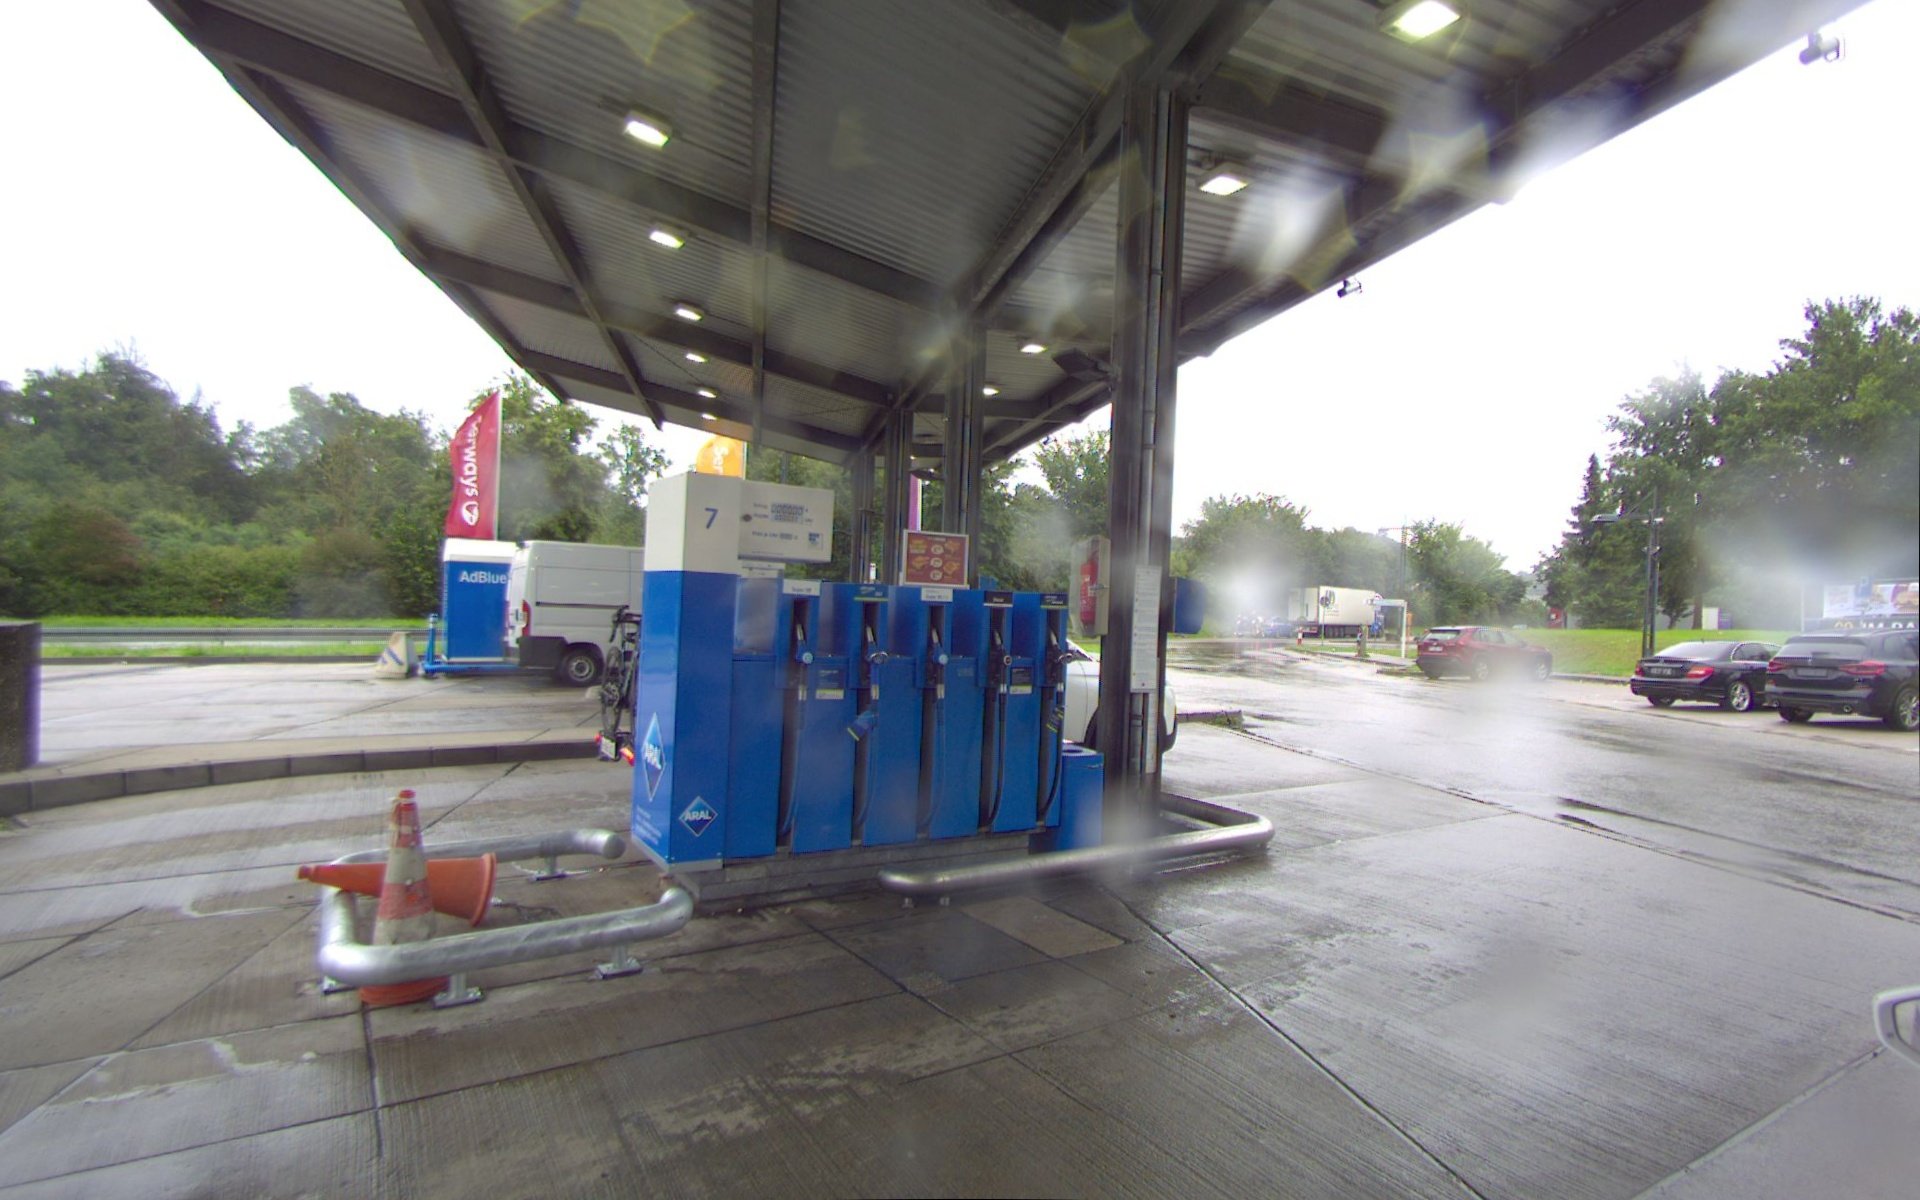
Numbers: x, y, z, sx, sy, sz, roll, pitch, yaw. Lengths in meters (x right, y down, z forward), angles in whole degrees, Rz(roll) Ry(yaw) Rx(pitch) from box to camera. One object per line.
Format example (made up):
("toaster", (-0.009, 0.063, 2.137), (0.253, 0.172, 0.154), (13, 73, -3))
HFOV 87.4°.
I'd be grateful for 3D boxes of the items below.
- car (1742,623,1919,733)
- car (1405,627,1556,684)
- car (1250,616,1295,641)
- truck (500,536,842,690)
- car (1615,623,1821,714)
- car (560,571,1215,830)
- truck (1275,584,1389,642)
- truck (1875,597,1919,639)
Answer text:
("car", (16.156, 1.270, 17.453), (4.274, 1.734, 2.016), (1, -1, -18))
("car", (16.059, 1.668, 30.987), (4.283, 1.666, 1.933), (1, -2, -25))
("car", (22.885, 2.058, 73.422), (1.787, 1.704, 3.934), (2, 0, 40))
("truck", (-5.354, 0.288, 18.925), (5.793, 2.527, 2.221), (2, 0, -30))
("car", (15.925, 1.355, 21.076), (4.293, 1.734, 2.007), (1, -2, -31))
("car", (-0.442, 0.698, 8.443), (5.210, 1.629, 1.852), (2, 0, -30))
("truck", (31.860, 1.182, 85.137), (3.498, 4.397, 16.922), (2, 0, 40))
("truck", (68.836, 1.325, 71.688), (5.285, 2.959, 2.191), (2, 0, -5))
